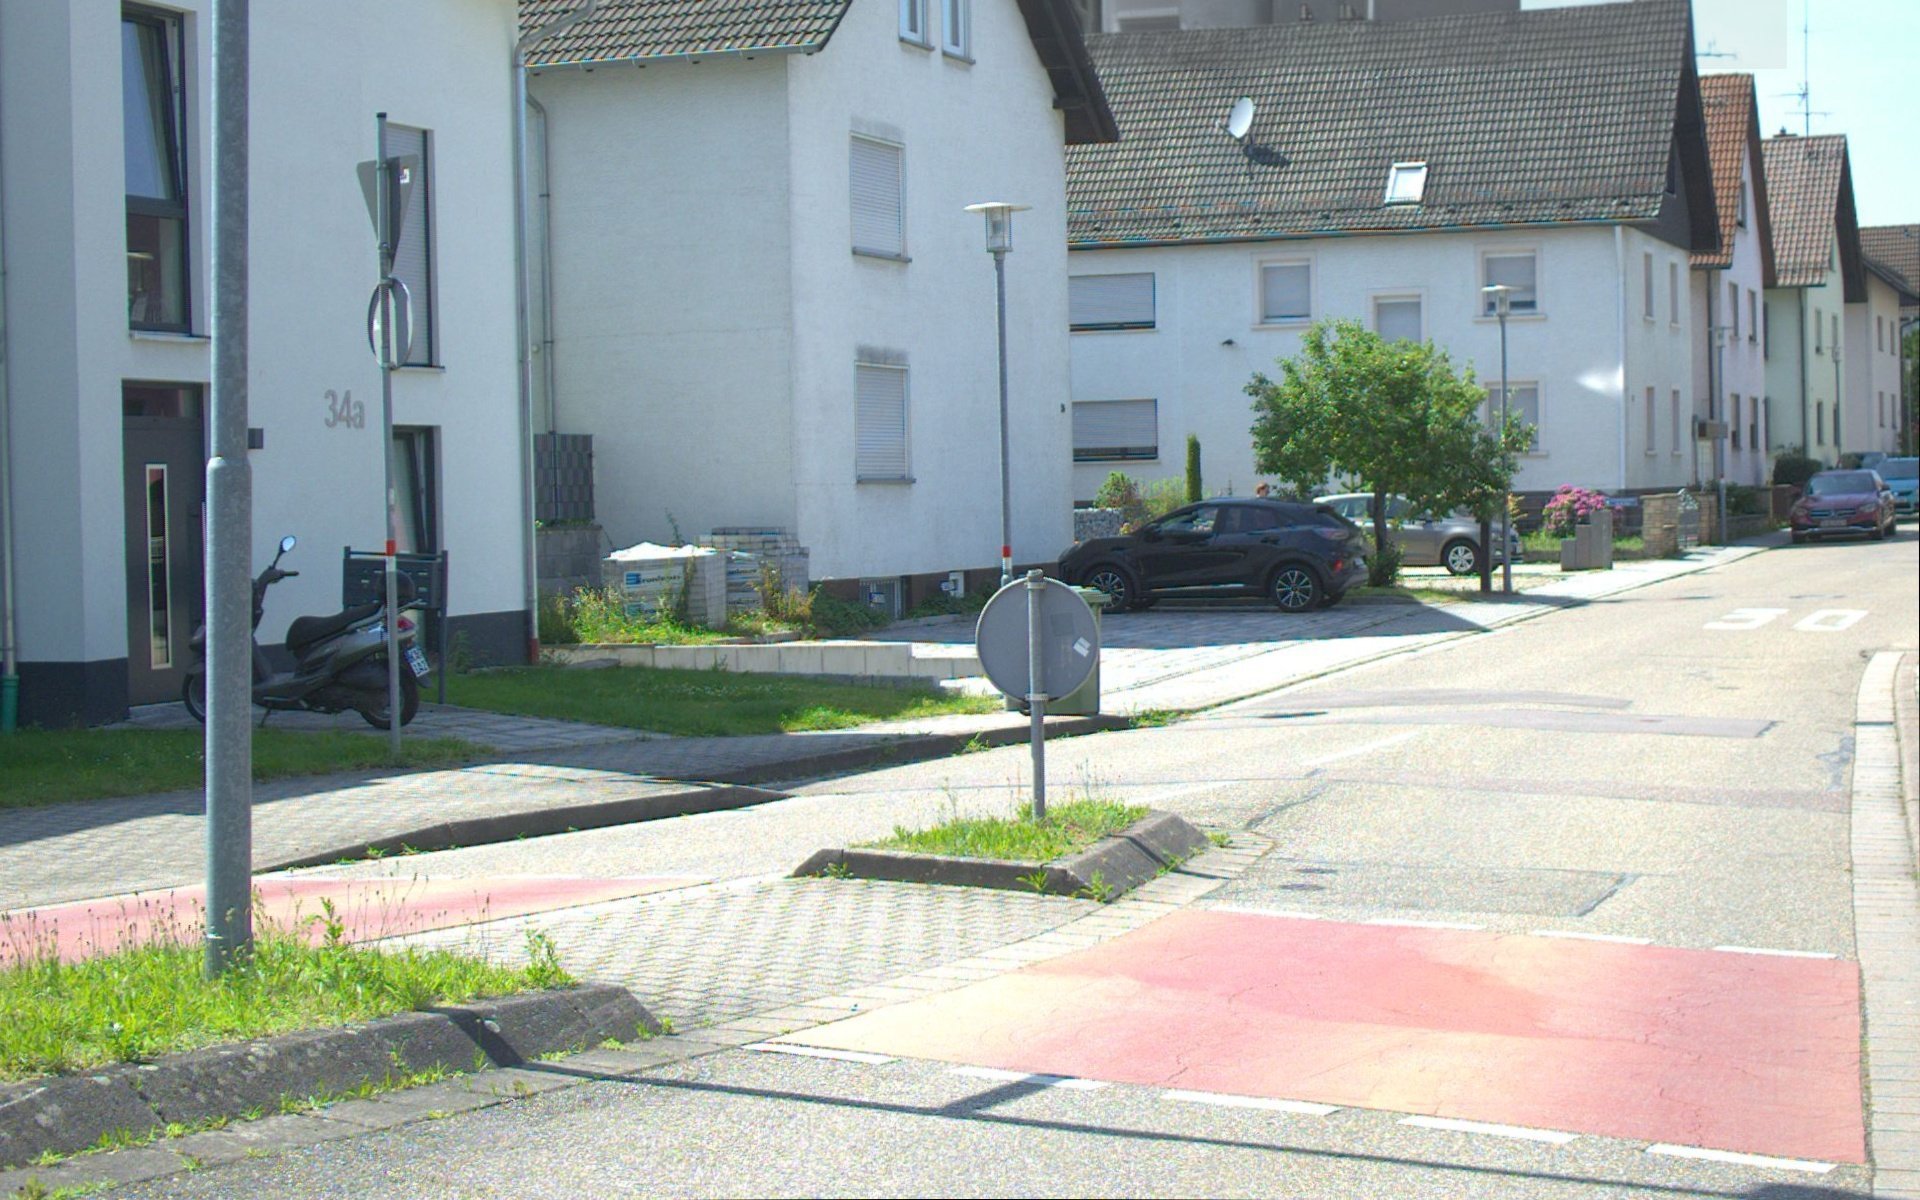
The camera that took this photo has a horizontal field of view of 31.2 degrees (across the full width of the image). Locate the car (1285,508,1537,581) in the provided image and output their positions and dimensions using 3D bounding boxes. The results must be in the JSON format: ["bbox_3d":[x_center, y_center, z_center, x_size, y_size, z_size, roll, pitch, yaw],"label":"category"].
[{"bbox_3d":[7.690,-0.950,58.505,3.990,1.186,1.839,0,2,18],"label":"car"}]

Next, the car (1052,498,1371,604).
[{"bbox_3d":[3.395,-0.661,46.258,3.990,1.378,1.659,0,2,18],"label":"car"}]

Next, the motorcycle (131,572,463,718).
[{"bbox_3d":[-4.740,0.311,24.550,2.364,1.010,0.671,0,0,24],"label":"motorcycle"}]

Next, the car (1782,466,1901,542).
[{"bbox_3d":[18.574,-2.040,72.320,1.996,1.548,3.996,0,2,21],"label":"car"}]

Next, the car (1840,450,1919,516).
[{"bbox_3d":[23.069,-2.931,86.181,1.925,1.598,3.998,0,2,14],"label":"car"}]

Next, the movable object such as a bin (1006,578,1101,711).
[{"bbox_3d":[0.782,0.367,28.730,0.646,1.080,0.458,1,2,28],"label":"movable object such as a bin"}]
